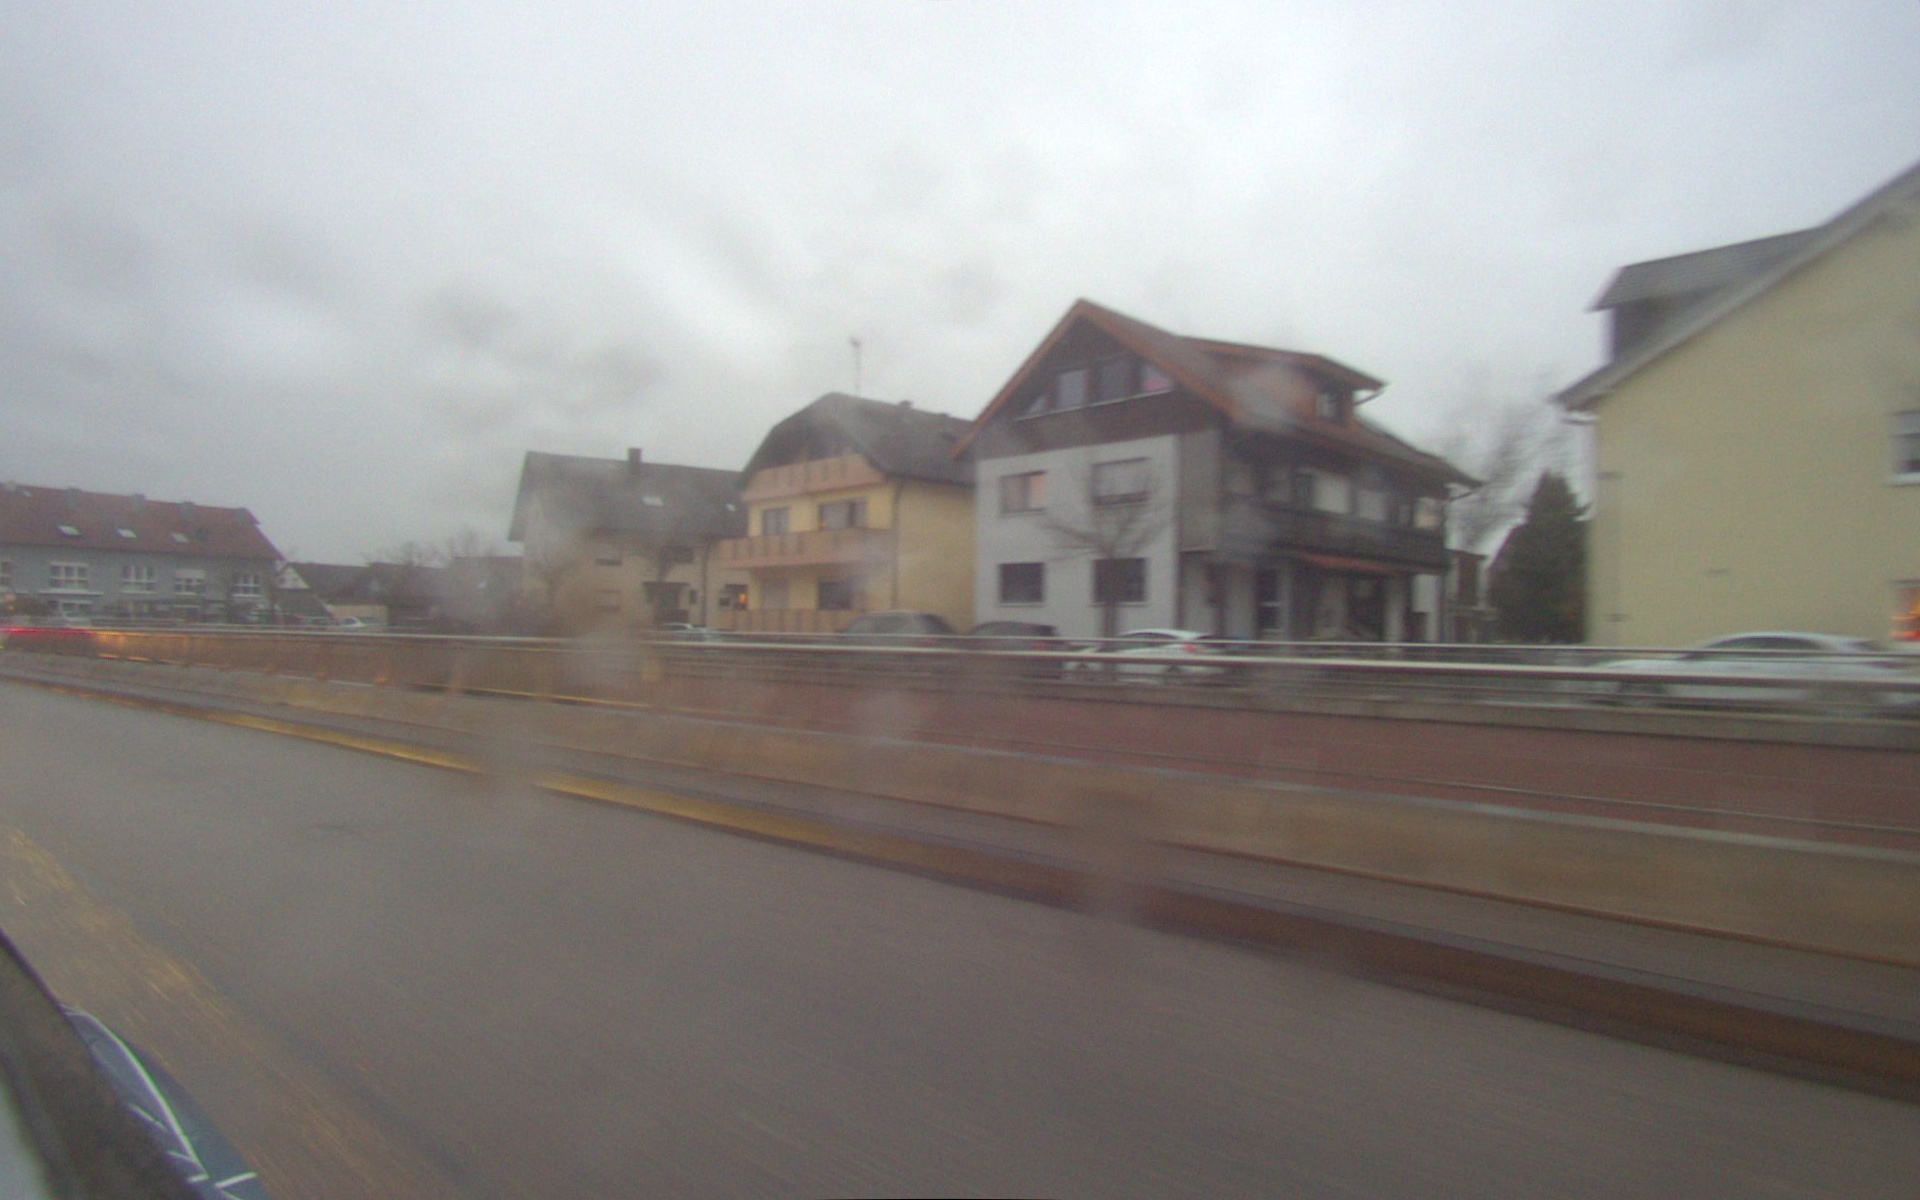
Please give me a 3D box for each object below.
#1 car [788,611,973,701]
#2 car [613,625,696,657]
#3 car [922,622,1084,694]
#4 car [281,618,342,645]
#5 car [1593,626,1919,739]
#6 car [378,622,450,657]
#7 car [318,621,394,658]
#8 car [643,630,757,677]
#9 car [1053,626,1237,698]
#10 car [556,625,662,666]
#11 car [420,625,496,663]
[{"bbox_3d":[-1.794,1.169,22.329,3.855,1.817,1.782,0,-2,38],"label":"car"},{"bbox_3d":[-16.524,2.202,54.771,3.972,1.535,1.818,-1,0,-32],"label":"car"},{"bbox_3d":[1.096,1.463,26.827,3.998,1.694,1.839,-1,0,41],"label":"car"},{"bbox_3d":[-37.814,1.828,59.002,3.826,1.425,1.661,0,1,36],"label":"car"},{"bbox_3d":[13.005,1.296,16.542,4.224,1.611,1.853,-2,-5,43],"label":"car"},{"bbox_3d":[-27.492,1.949,50.938,3.998,1.529,1.877,0,1,41],"label":"car"},{"bbox_3d":[-33.369,2.146,55.867,4.346,1.919,1.977,-1,0,34],"label":"car"},{"bbox_3d":[-9.147,1.830,35.438,4.141,1.517,1.857,-1,-2,41],"label":"car"},{"bbox_3d":[4.381,1.426,24.304,4.030,1.535,1.750,-1,-2,41],"label":"car"},{"bbox_3d":[-13.500,1.707,38.836,4.647,1.453,1.856,-1,-2,42],"label":"car"},{"bbox_3d":[-23.791,2.048,47.897,3.982,1.636,1.798,-2,0,41],"label":"car"}]
